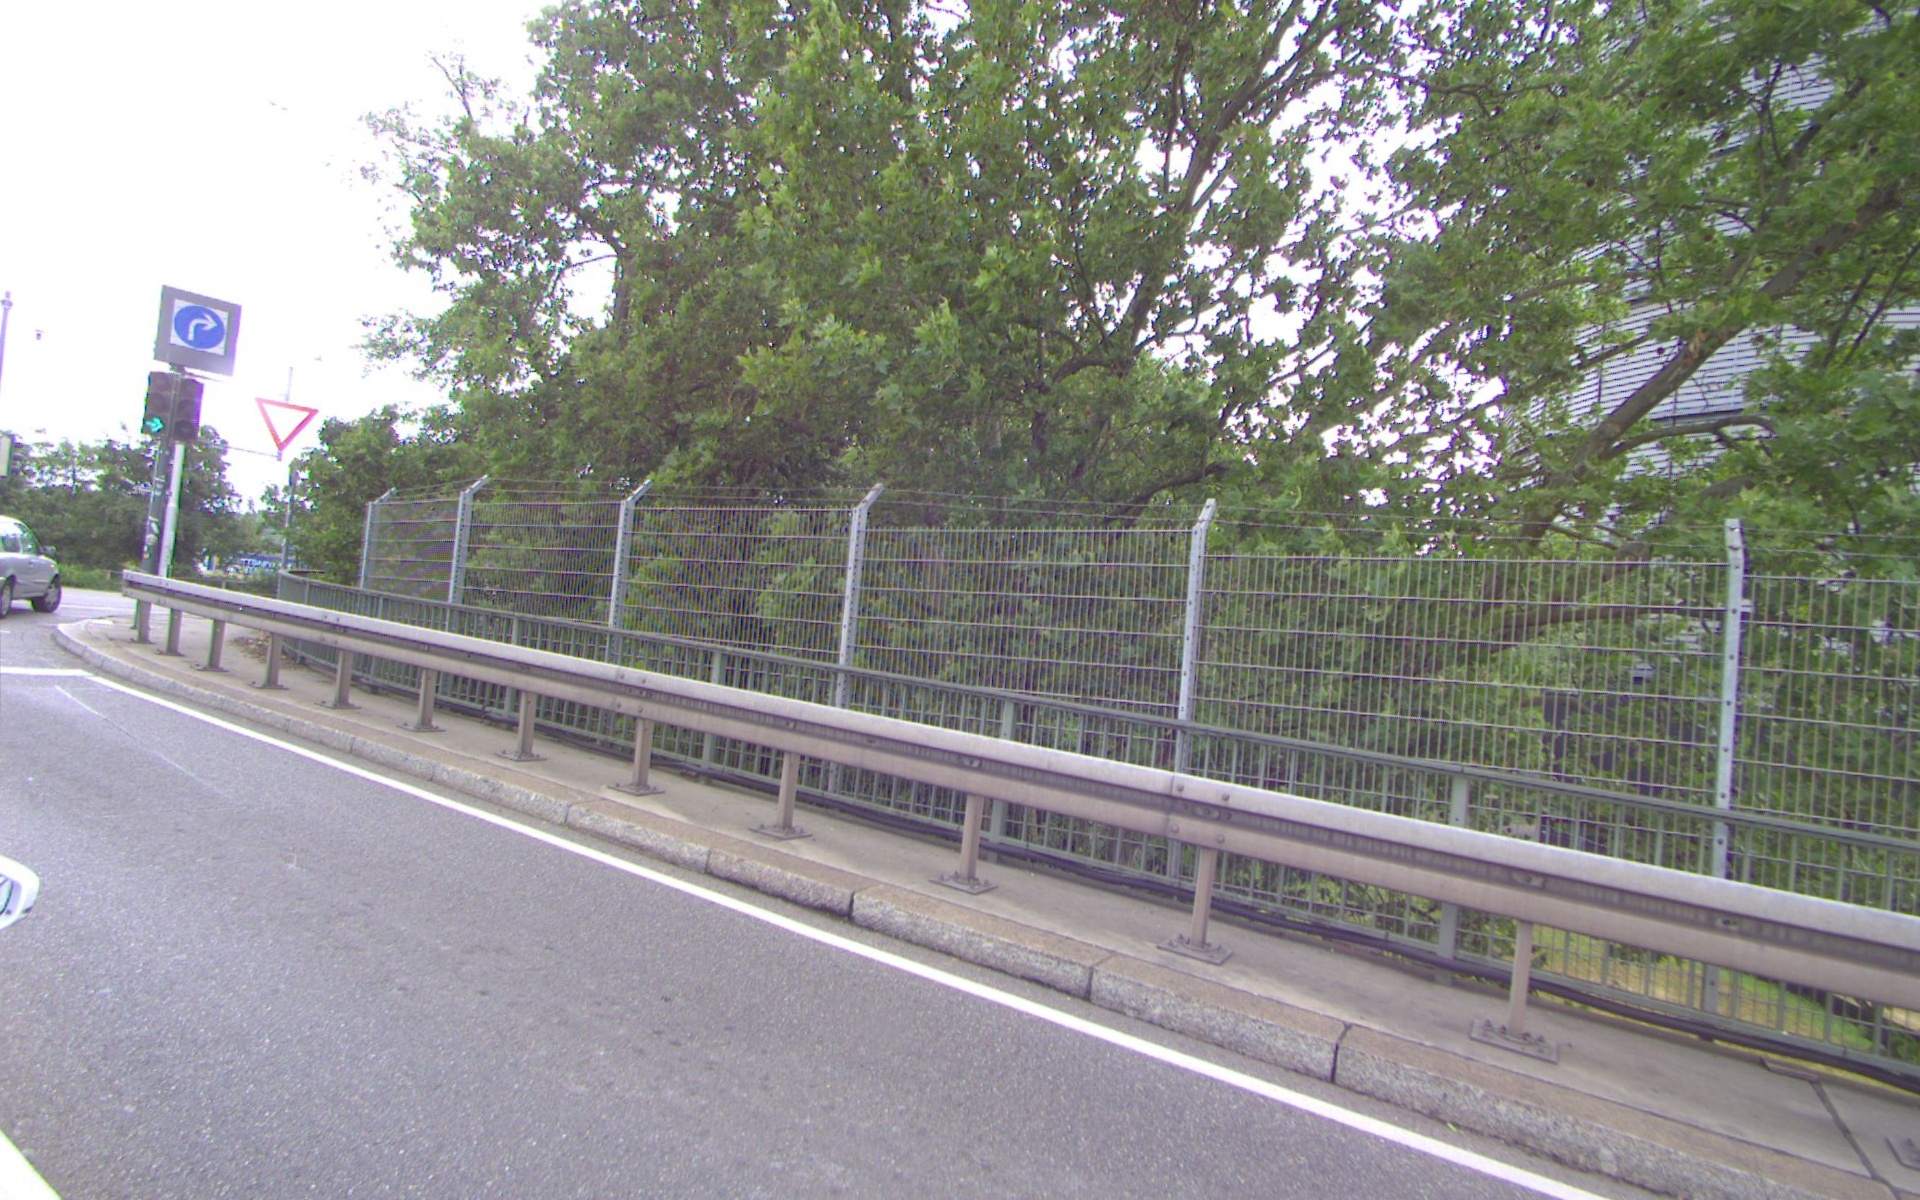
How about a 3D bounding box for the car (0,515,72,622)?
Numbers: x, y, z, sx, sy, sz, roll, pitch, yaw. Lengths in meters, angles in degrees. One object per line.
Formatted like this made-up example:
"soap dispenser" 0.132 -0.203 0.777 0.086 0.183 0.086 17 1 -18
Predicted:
"car" -14.546 -0.573 14.733 1.574 1.448 3.416 8 -2 -31
